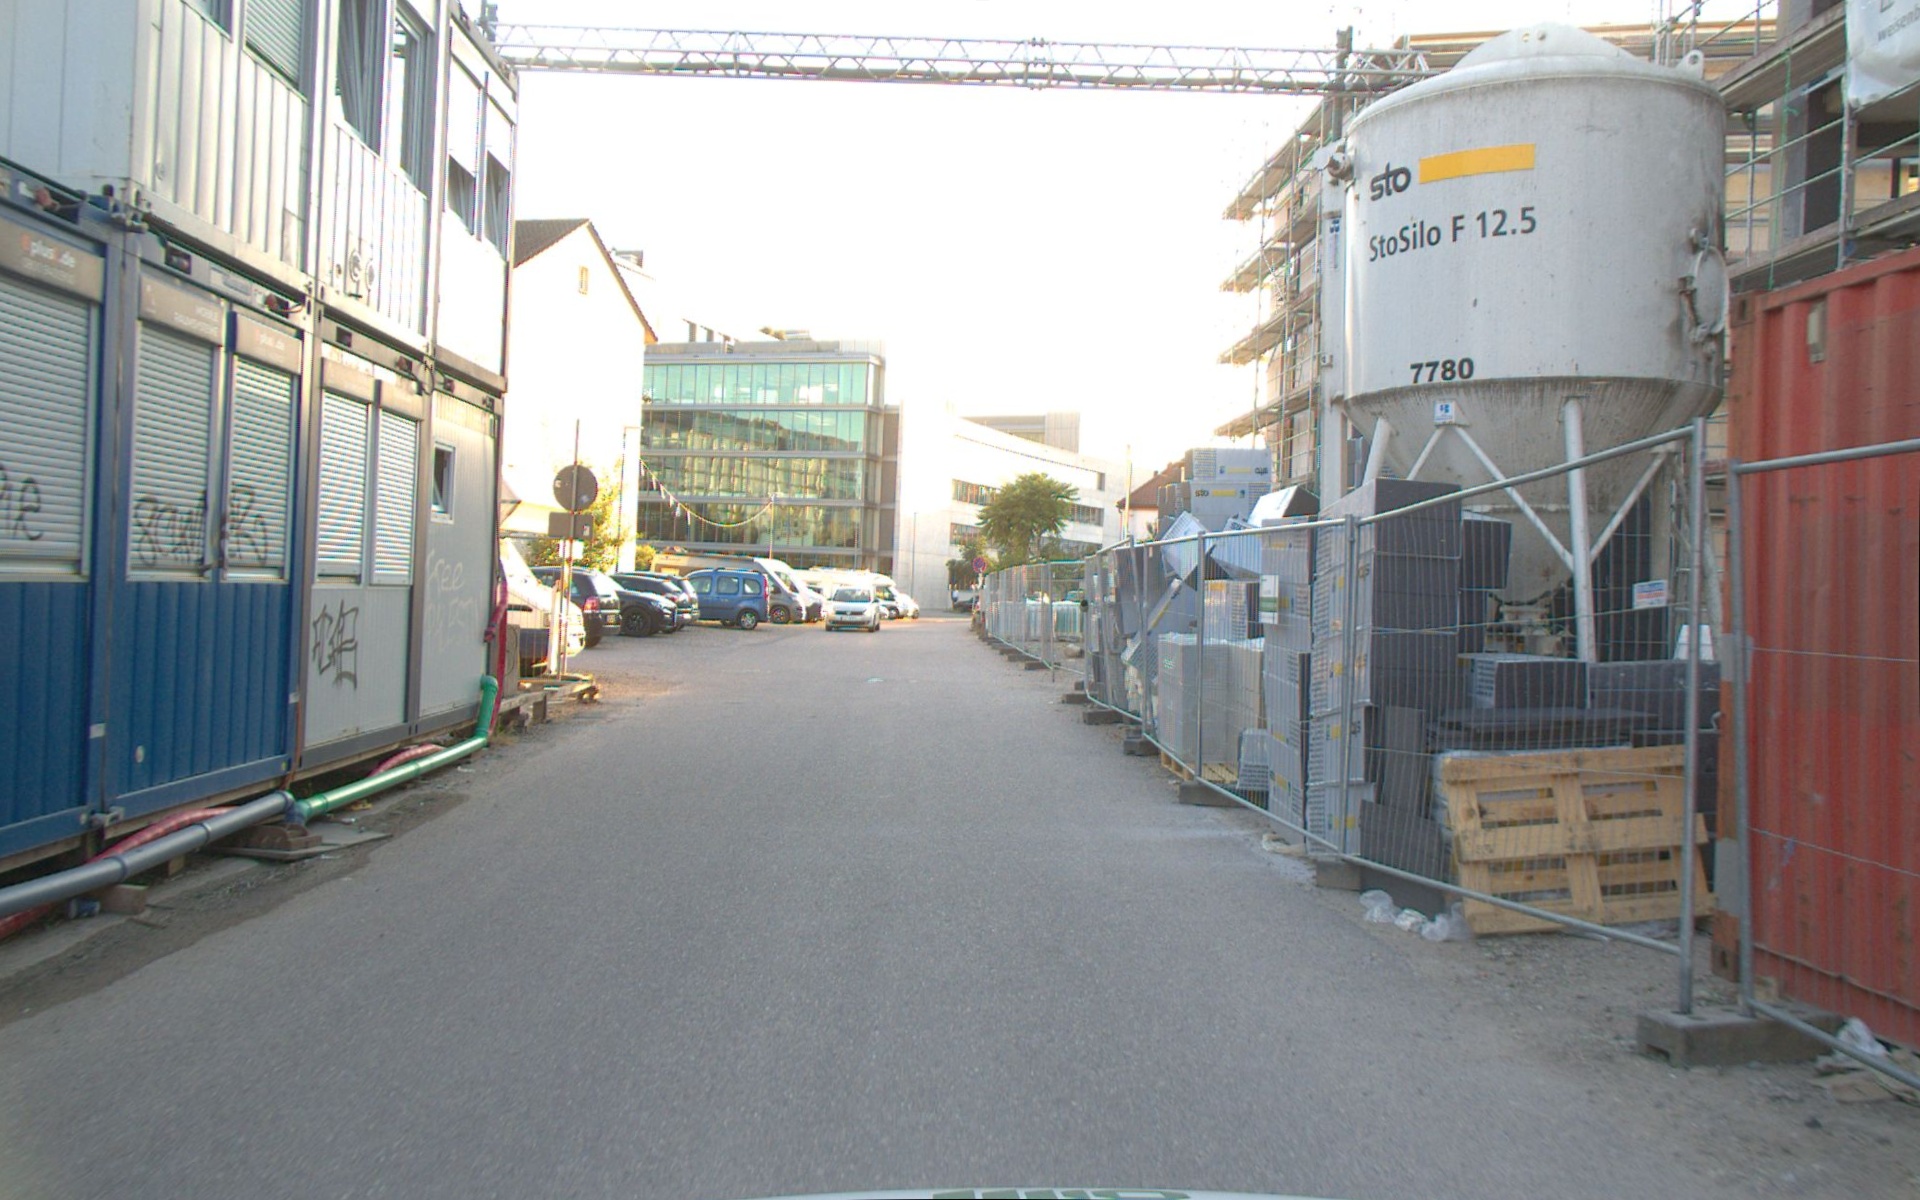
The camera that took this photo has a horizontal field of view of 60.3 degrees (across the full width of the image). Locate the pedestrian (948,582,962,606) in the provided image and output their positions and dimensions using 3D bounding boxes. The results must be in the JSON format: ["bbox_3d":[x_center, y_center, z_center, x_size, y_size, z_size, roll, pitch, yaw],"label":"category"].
[{"bbox_3d":[-0.380,-0.482,129.700,0.748,1.848,0.845,2,0,22],"label":"pedestrian"}]

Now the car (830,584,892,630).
[{"bbox_3d":[-3.506,0.221,59.136,1.630,1.555,3.912,2,1,4],"label":"car"}]

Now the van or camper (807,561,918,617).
[{"bbox_3d":[-5.855,-0.660,99.753,6.198,3.030,2.294,3,0,11],"label":"van or camper"}]

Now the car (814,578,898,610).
[{"bbox_3d":[-5.880,-0.344,94.078,4.408,1.676,2.002,2,1,7],"label":"car"}]

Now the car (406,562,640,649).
[{"bbox_3d":[-9.406,0.099,35.795,4.408,1.676,2.002,2,1,7],"label":"car"}]

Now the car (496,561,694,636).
[{"bbox_3d":[-9.128,-0.042,41.548,4.408,1.676,2.002,2,1,7],"label":"car"}]

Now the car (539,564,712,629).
[{"bbox_3d":[-9.613,-0.104,47.706,4.408,1.676,2.002,2,1,7],"label":"car"}]

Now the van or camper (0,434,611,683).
[{"bbox_3d":[-9.630,-0.594,23.707,8.586,3.102,2.595,2,0,0],"label":"van or camper"}]

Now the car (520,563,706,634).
[{"bbox_3d":[-9.249,-0.052,44.320,4.408,1.676,2.002,2,1,7],"label":"car"}]

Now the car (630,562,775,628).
[{"bbox_3d":[-8.180,-0.163,52.821,4.419,1.901,1.997,2,1,-8],"label":"car"}]

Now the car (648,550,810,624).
[{"bbox_3d":[-9.256,-0.522,66.680,6.200,2.697,2.000,2,0,-2],"label":"car"}]

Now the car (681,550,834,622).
[{"bbox_3d":[-8.578,-0.589,70.410,6.200,2.789,2.000,2,0,-2],"label":"car"}]

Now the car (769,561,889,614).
[{"bbox_3d":[-6.781,-0.639,85.899,5.797,2.533,2.002,2,0,9],"label":"car"}]
